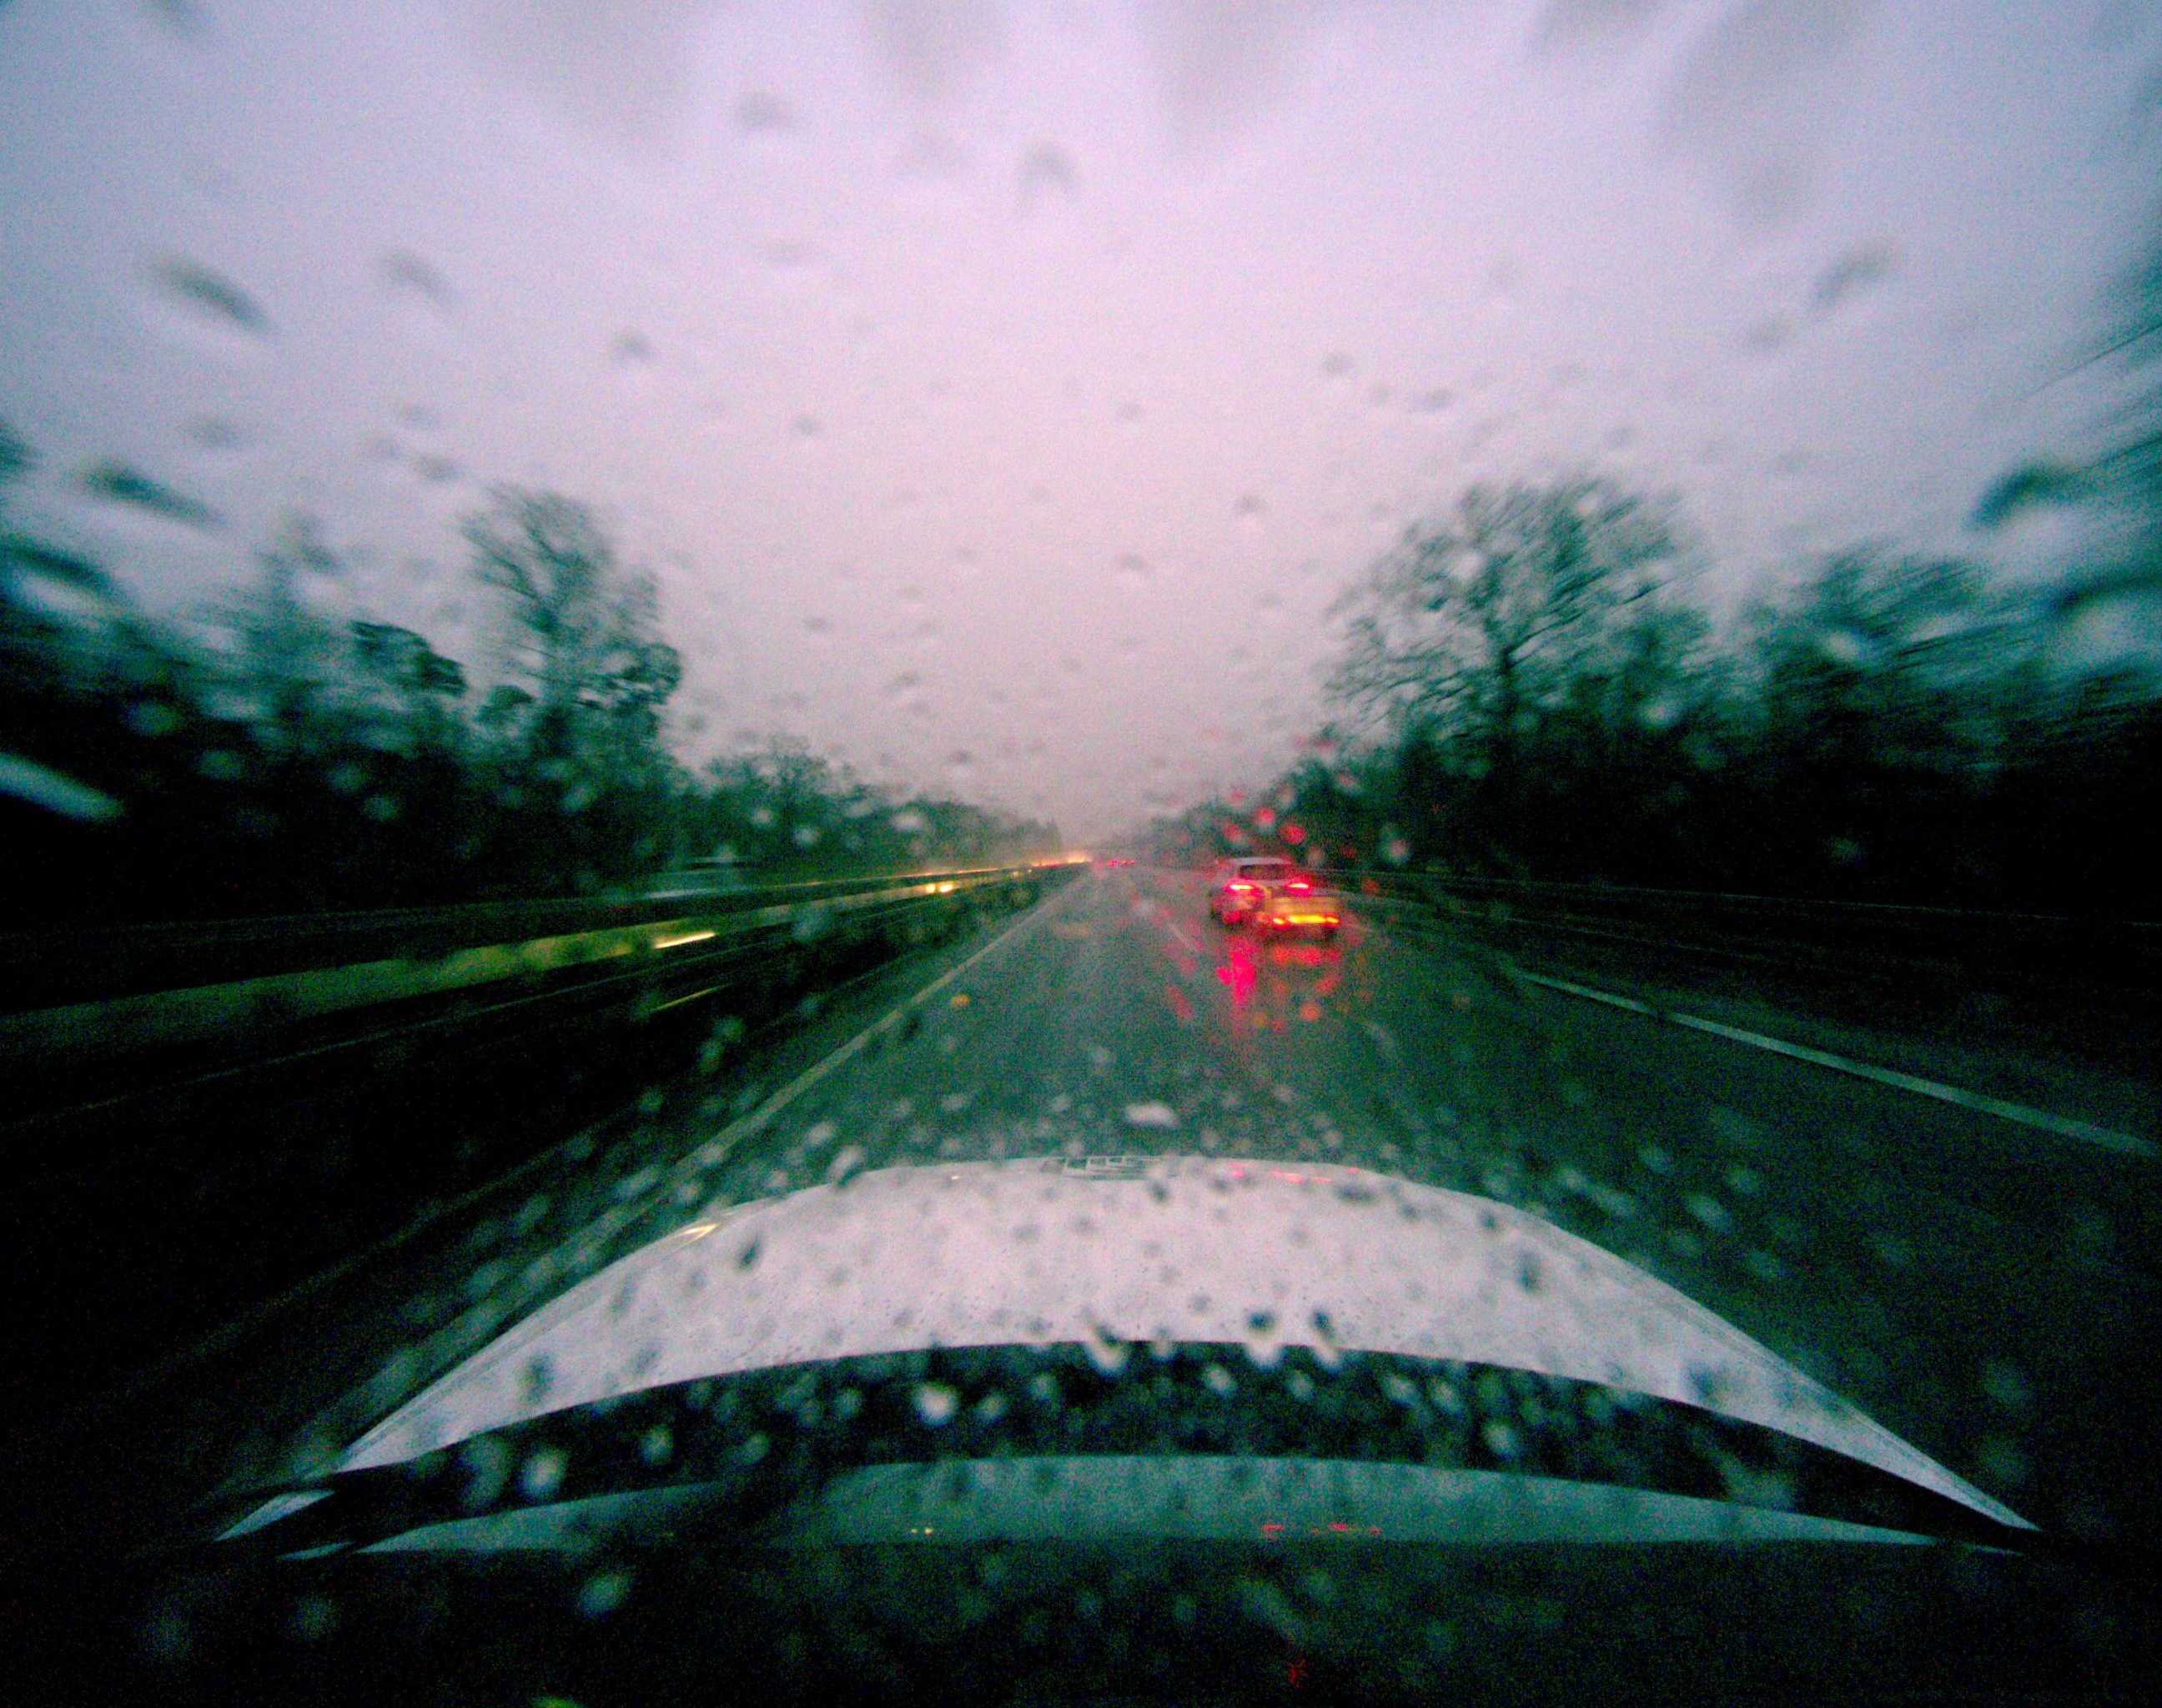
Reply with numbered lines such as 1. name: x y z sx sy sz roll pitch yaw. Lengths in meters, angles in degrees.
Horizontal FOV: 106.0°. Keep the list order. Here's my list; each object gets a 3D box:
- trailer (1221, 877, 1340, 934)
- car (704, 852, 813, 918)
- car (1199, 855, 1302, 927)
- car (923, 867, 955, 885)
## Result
1. trailer: 3.950 1.000 16.574 1.741 0.925 2.952 -2 -1 2
2. car: -11.130 1.009 28.483 1.852 2.081 4.464 -1 0 2
3. car: 4.033 0.841 19.949 1.780 1.516 3.812 -2 -1 2
4. car: -11.356 1.720 65.197 1.698 1.351 4.158 -1 0 2
